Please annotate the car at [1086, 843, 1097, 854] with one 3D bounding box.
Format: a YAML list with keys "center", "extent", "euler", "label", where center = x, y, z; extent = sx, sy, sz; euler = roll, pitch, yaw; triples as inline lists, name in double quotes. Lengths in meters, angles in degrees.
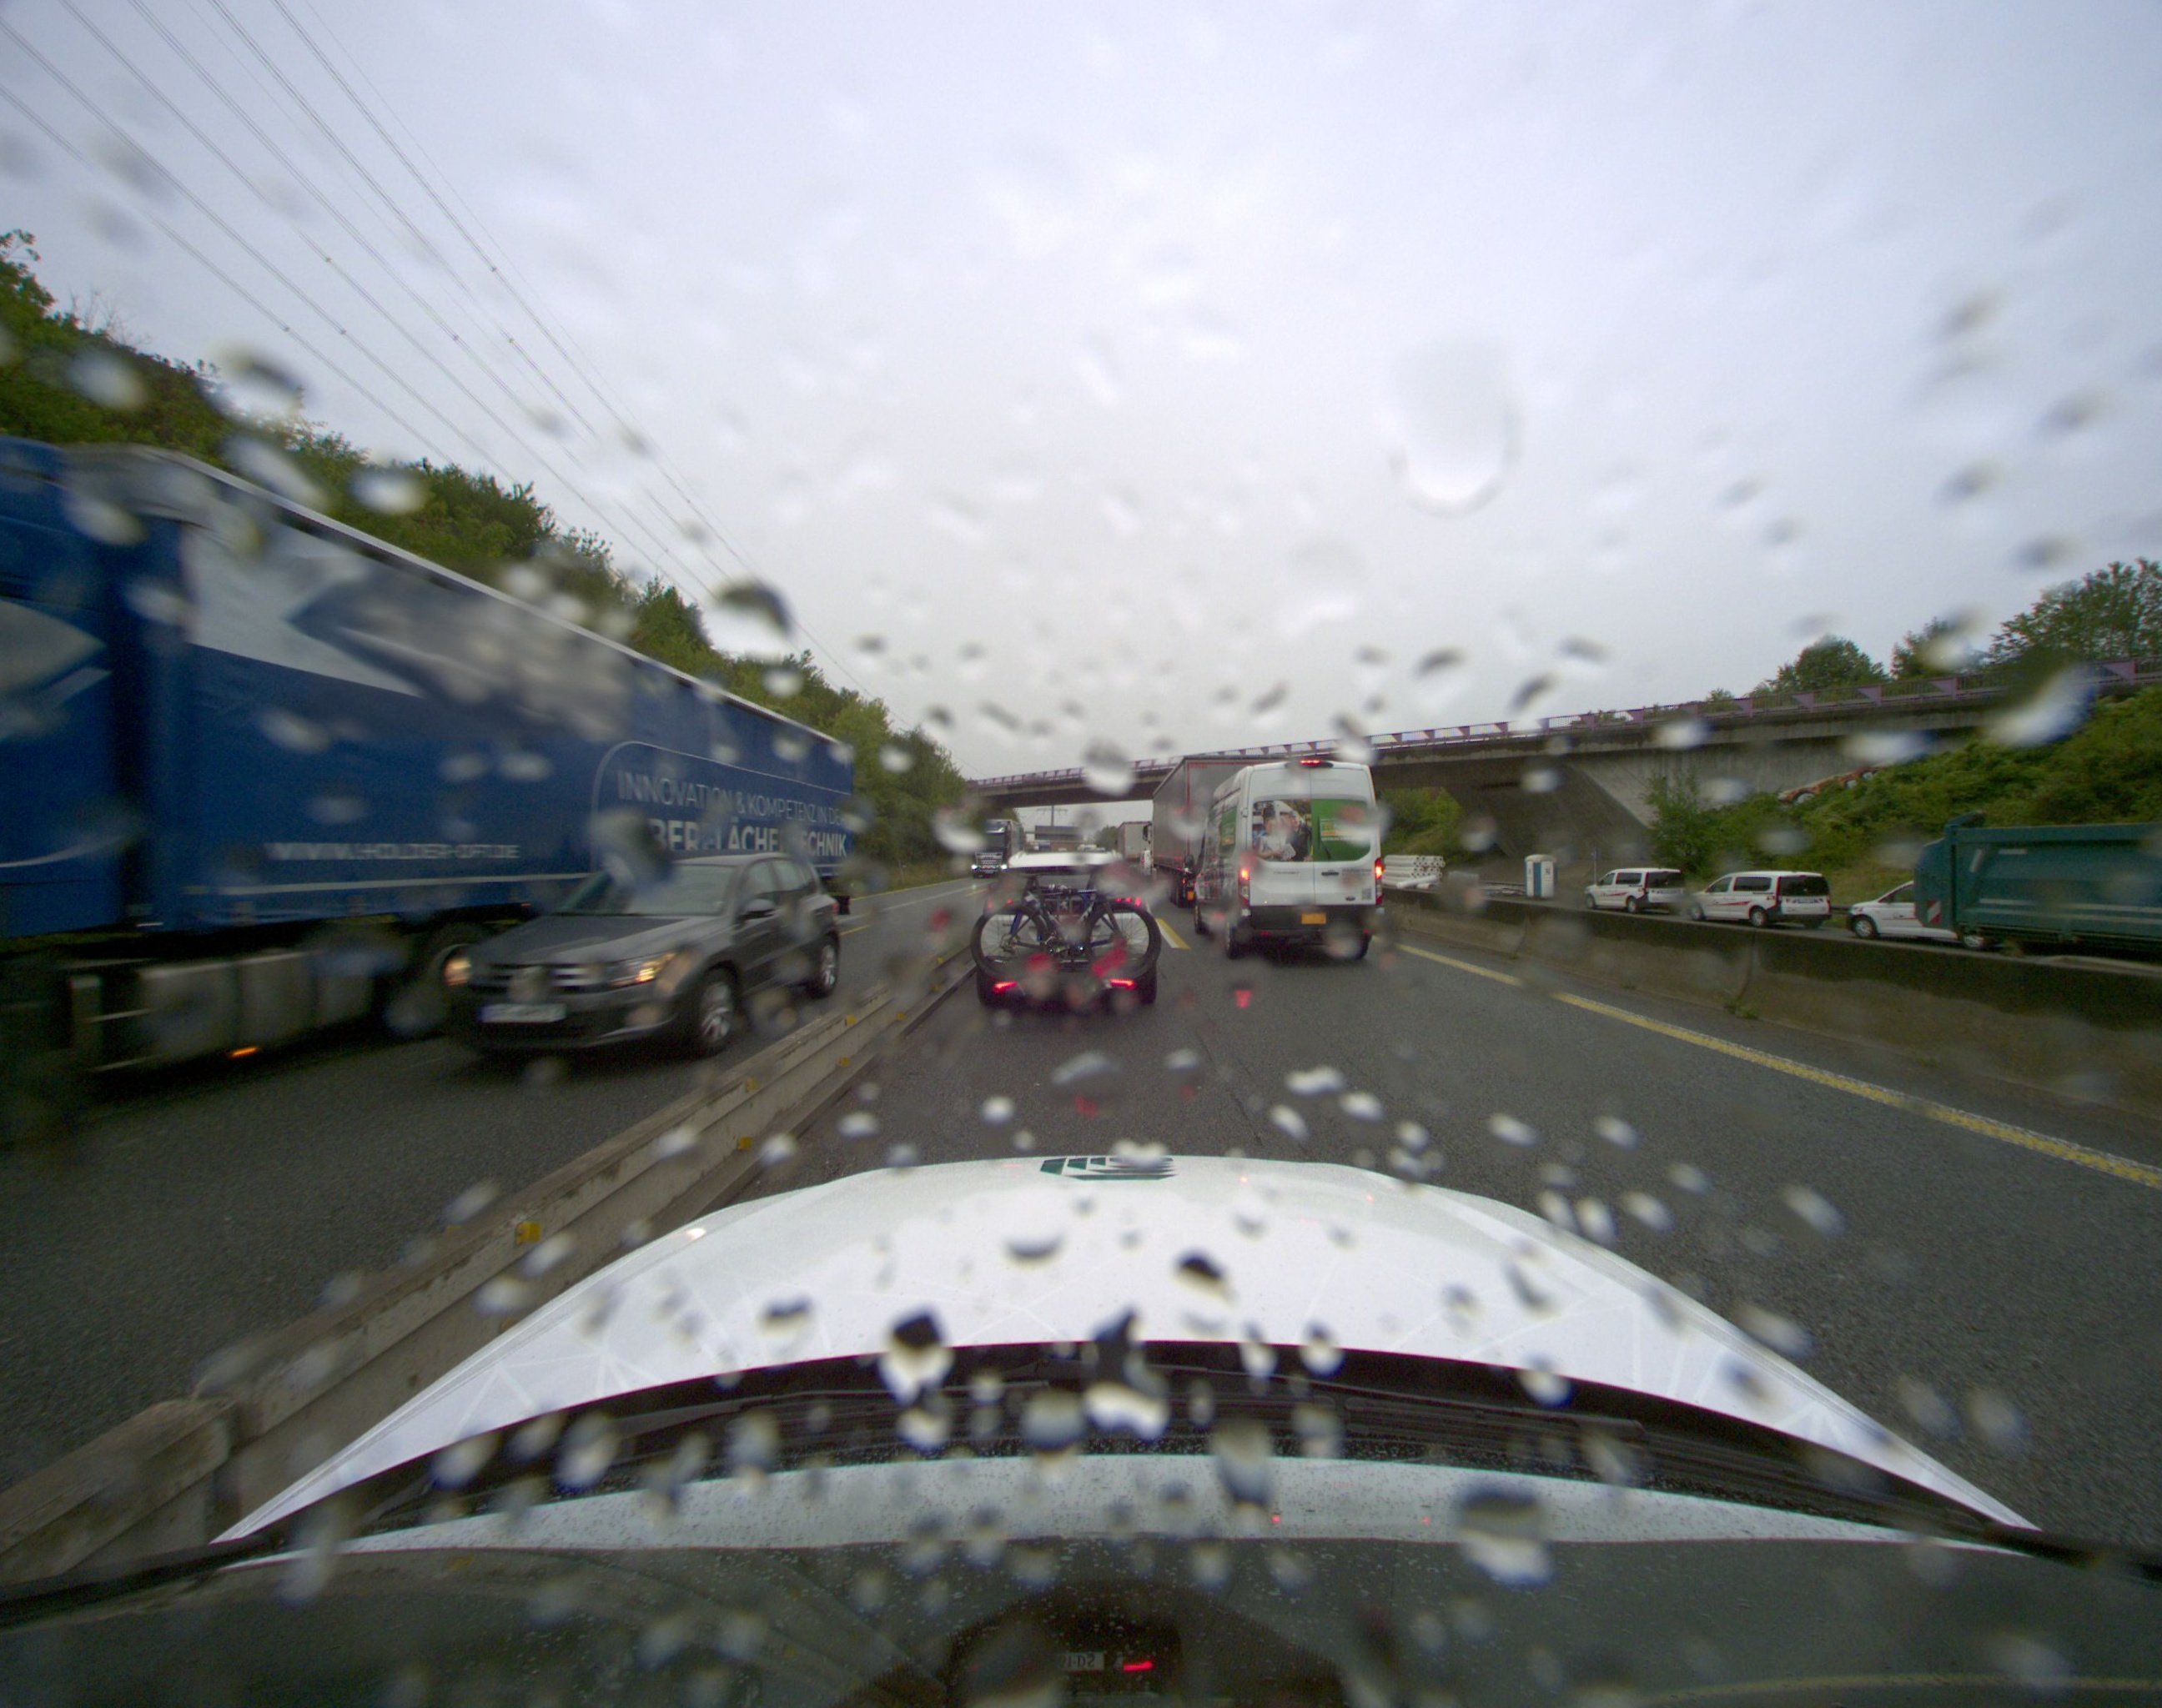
- center: [2.439, -1.214, 184.147]
  extent: [2.230, 2.307, 4.574]
  euler: [-1, -1, 2]
  label: "car"

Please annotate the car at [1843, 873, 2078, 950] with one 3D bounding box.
- center: [22.353, 1.382, 20.975]
  extent: [1.721, 1.725, 4.127]
  euler: [-1, -1, 3]
  label: "car"

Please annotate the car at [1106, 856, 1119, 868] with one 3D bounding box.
- center: [4.109, 1.072, 105.208]
  extent: [1.632, 1.497, 3.668]
  euler: [-1, -1, 2]
  label: "car"

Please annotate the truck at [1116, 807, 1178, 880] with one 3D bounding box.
- center: [5.704, -0.733, 73.215]
  extent: [4.723, 5.673, 20.392]
  euler: [-1, 0, 3]
  label: "truck"

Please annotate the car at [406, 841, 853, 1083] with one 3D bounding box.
- center: [-3.614, 0.744, 7.537]
  extent: [1.777, 1.610, 4.104]
  euler: [-1, -1, 1]
  label: "car"

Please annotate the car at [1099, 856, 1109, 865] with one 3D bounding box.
- center: [3.852, 1.122, 134.368]
  extent: [1.632, 1.497, 3.668]
  euler: [-1, -1, 2]
  label: "car"

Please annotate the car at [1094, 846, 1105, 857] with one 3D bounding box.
- center: [3.532, -0.371, 151.591]
  extent: [1.986, 2.014, 4.001]
  euler: [-1, -1, 2]
  label: "car"

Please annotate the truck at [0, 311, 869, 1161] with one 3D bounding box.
- center: [-6.494, -0.515, 10.481]
  extent: [2.756, 4.123, 16.929]
  euler: [0, 0, 1]
  label: "truck"

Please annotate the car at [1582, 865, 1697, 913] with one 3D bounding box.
- center: [22.617, 1.355, 33.183]
  extent: [1.841, 1.809, 4.156]
  euler: [0, -1, 0]
  label: "car"

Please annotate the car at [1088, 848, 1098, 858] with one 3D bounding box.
- center: [2.546, -0.181, 171.396]
  extent: [1.986, 2.014, 4.002]
  euler: [-1, -1, 2]
  label: "car"

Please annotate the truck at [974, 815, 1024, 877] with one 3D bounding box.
- center: [-5.829, -0.505, 59.252]
  extent: [2.455, 4.123, 10.089]
  euler: [0, -1, 1]
  label: "truck"

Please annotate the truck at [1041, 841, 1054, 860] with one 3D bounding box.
- center: [-7.356, -0.677, 179.910]
  extent: [2.455, 4.123, 10.089]
  euler: [0, -1, 1]
  label: "truck"

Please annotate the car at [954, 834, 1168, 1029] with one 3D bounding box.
- center: [-0.038, 0.677, 9.206]
  extent: [1.802, 1.637, 4.639]
  euler: [-1, -1, 3]
  label: "car"

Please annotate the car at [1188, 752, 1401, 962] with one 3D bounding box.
- center: [3.138, 0.067, 13.520]
  extent: [2.136, 2.676, 6.120]
  euler: [-1, -1, 2]
  label: "car"

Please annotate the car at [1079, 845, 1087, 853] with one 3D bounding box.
- center: [0.537, -1.258, 215.850]
  extent: [1.986, 2.126, 4.529]
  euler: [-1, -1, 2]
  label: "car"

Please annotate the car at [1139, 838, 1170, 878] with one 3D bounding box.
- center: [4.238, 0.255, 47.384]
  extent: [1.663, 2.180, 4.538]
  euler: [-1, -1, 3]
  label: "car"

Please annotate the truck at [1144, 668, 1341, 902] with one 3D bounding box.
- center: [4.732, -1.592, 30.048]
  extent: [3.964, 5.673, 20.386]
  euler: [-1, 0, 2]
  label: "truck"

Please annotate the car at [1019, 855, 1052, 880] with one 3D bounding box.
- center: [-2.824, 0.858, 51.372]
  extent: [1.932, 1.494, 3.998]
  euler: [0, -1, -1]
  label: "car"

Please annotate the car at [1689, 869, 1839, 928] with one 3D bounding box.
- center: [22.437, 1.409, 26.979]
  extent: [1.721, 1.745, 4.128]
  euler: [-1, -1, 4]
  label: "car"

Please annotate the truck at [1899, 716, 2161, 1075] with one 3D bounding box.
- center: [10.585, 0.335, 4.849]
  extent: [2.511, 3.132, 9.123]
  euler: [-1, 0, 2]
  label: "truck"
